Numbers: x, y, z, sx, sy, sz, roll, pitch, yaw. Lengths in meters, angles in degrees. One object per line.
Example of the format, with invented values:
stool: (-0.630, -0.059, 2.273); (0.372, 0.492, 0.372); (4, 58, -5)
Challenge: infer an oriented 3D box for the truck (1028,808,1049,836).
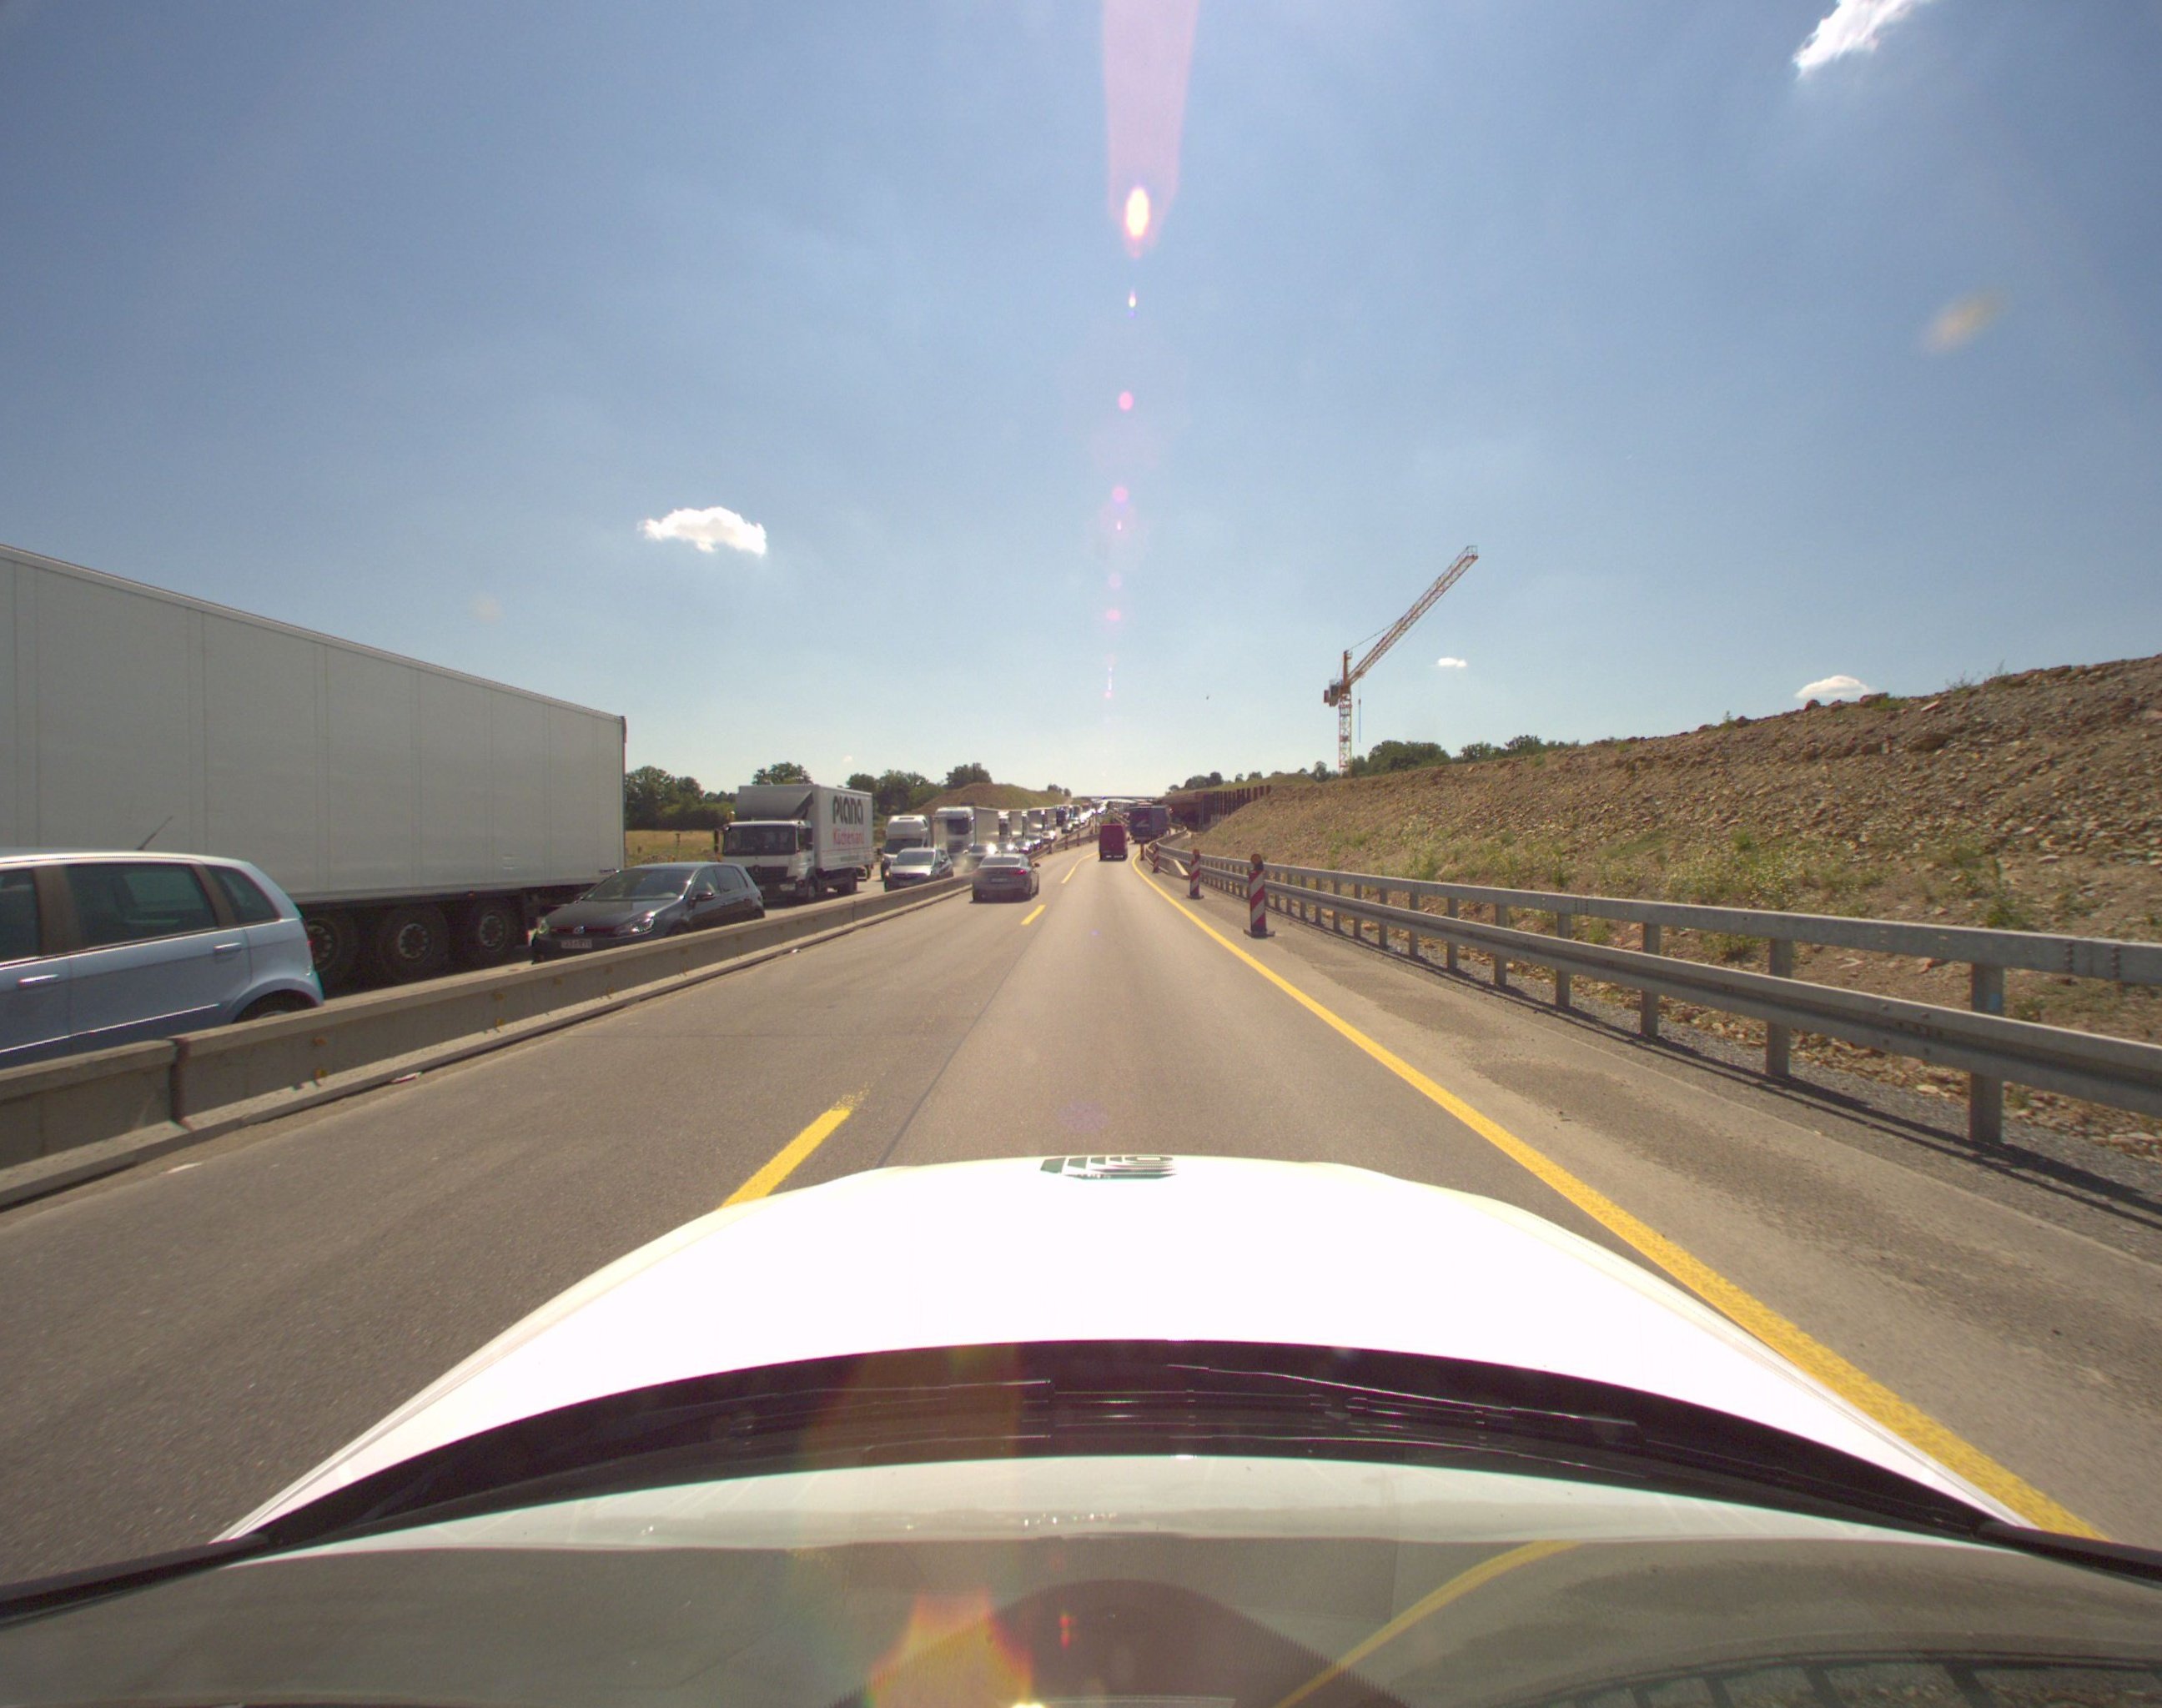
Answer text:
truck: (-6.149, -4.582, 118.818); (2.675, 3.839, 7.385); (-1, 1, 0)

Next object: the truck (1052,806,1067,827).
truck: (-4.285, -7.526, 163.351); (2.879, 3.839, 8.000); (-1, 1, 0)

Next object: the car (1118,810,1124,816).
car: (12.574, -12.976, 256.431); (1.945, 1.641, 4.269); (-1, 1, 1)

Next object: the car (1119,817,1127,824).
car: (11.084, -8.852, 213.728); (1.945, 1.530, 4.269); (-1, 0, 1)

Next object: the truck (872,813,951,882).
truck: (-8.447, -0.381, 41.428); (2.426, 3.148, 7.023); (-1, 1, 0)

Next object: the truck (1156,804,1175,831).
truck: (14.221, -6.019, 136.974); (3.023, 4.100, 7.096); (-1, -1, 6)

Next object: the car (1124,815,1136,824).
car: (11.185, -7.890, 185.783); (2.276, 1.530, 4.366); (-4, -1, 7)

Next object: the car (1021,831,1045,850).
car: (-4.650, -1.327, 79.082); (1.987, 1.783, 4.000); (-1, 1, 0)

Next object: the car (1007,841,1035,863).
car: (-4.962, -0.167, 67.884); (1.987, 1.783, 4.000); (-1, 1, 0)

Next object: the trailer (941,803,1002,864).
trailer: (-8.318, -1.500, 63.608); (2.585, 4.257, 12.473); (-1, 1, 2)

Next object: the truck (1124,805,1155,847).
truck: (6.995, -3.280, 96.527); (3.004, 4.692, 6.947); (-2, 1, 7)

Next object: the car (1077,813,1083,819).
car: (-0.314, -11.444, 244.793); (1.946, 1.530, 4.268); (-1, 1, 1)

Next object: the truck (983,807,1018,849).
truck: (-7.685, -2.437, 78.763); (2.773, 3.869, 5.460); (-1, -1, 0)

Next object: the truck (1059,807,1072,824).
truck: (-3.709, -9.364, 197.036); (2.879, 3.839, 8.000); (-1, 1, 0)

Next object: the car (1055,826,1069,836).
car: (-2.955, -3.588, 129.195); (1.945, 1.530, 4.269); (-1, 1, 1)

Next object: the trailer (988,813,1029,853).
trailer: (-7.474, -2.062, 85.382); (2.772, 3.931, 11.015); (-1, 0, 3)

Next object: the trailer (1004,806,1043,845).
trailer: (-7.069, -3.467, 101.852); (3.029, 4.552, 12.141); (-1, 1, 4)

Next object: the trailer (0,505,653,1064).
trailer: (-9.556, -0.509, 7.943); (2.975, 4.208, 13.951); (-1, 0, 2)

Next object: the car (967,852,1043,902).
car: (-2.349, 0.671, 26.227); (1.845, 1.452, 4.744); (0, 0, 2)

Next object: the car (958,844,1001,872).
car: (-5.806, 0.226, 47.141); (1.820, 1.535, 4.547); (-1, 0, 1)

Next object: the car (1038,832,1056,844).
car: (-4.030, -1.879, 97.063); (1.740, 1.409, 4.002); (-1, 1, 1)

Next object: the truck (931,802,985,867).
truck: (-8.513, -1.368, 57.099); (2.541, 4.230, 6.533); (-1, 1, 2)

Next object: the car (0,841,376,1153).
car: (-6.374, 0.739, 4.261); (1.820, 1.574, 4.000); (-1, -1, 1)

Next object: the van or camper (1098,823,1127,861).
van or camper: (2.313, -0.890, 61.008); (2.023, 2.744, 4.515); (-1, 1, 0)

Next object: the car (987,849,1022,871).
car: (-5.413, 0.376, 58.017); (1.896, 1.376, 4.548); (-3, 1, 1)

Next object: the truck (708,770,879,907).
truck: (-9.203, -0.469, 27.340); (2.516, 3.855, 8.672); (-1, 0, 1)

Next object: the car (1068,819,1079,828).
car: (-1.379, -5.547, 149.450); (1.945, 1.530, 4.269); (-1, 1, 1)

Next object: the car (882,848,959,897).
car: (-5.745, 0.621, 29.685); (1.820, 1.651, 4.547); (-1, 0, 1)

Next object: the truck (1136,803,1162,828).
truck: (15.338, -8.523, 182.200); (5.133, 4.996, 13.904); (-3, 0, 7)

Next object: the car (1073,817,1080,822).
car: (-1.234, -10.066, 238.188); (1.946, 1.530, 4.268); (-1, 1, 1)

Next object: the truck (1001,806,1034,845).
truck: (-7.443, -3.371, 96.526); (3.039, 4.480, 5.986); (-1, 1, 4)

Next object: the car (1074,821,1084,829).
car: (-0.391, -5.981, 166.555); (1.945, 1.530, 4.269); (-1, 1, 1)

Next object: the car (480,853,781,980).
car: (-6.387, 0.777, 12.255); (1.986, 1.557, 4.340); (-1, 0, 2)
